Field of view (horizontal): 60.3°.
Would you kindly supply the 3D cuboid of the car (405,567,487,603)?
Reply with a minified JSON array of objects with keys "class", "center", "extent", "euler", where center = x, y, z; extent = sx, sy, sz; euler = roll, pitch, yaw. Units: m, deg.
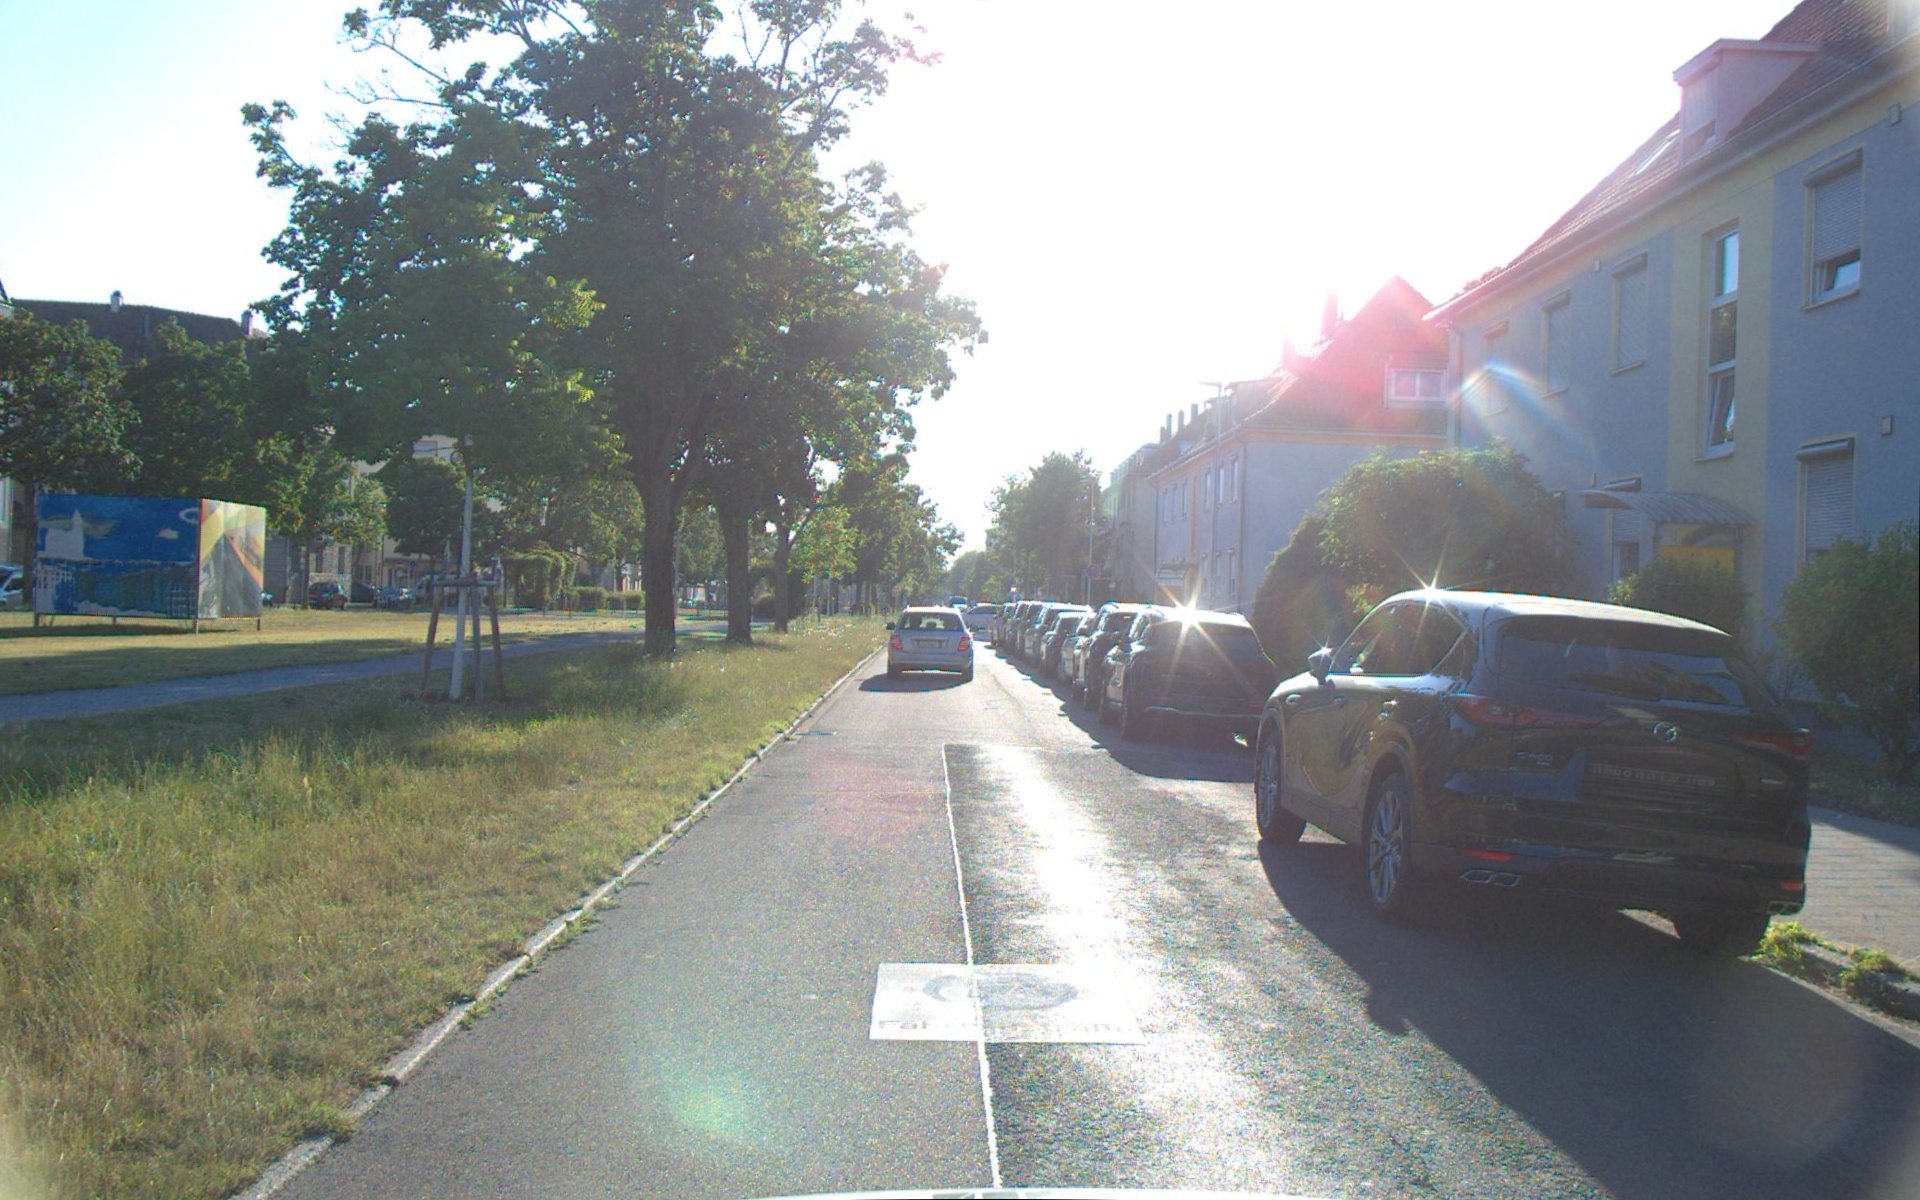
[{"class":"car","center":[-42.951,-1.235,138.267],"extent":[6.231,2.767,1.981],"euler":[2,0,-32]}]

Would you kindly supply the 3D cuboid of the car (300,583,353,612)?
[{"class":"car","center":[-39.954,-0.137,104.454],"extent":[1.610,1.737,4.293],"euler":[-2,-1,0]}]

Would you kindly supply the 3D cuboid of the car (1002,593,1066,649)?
[{"class":"car","center":[2.347,0.671,53.548],"extent":[1.741,1.672,4.755],"euler":[1,-1,-1]}]

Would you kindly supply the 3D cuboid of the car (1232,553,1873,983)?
[{"class":"car","center":[3.019,0.769,9.762],"extent":[1.796,1.762,5.030],"euler":[4,-1,-1]}]

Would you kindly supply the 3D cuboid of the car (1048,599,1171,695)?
[{"class":"car","center":[2.844,0.892,32.333],"extent":[1.694,1.575,4.205],"euler":[6,-1,-3]}]

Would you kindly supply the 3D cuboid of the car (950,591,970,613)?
[{"class":"car","center":[0.018,0.189,165.965],"extent":[1.948,2.059,3.999],"euler":[2,0,0]}]

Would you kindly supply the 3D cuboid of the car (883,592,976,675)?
[{"class":"car","center":[-0.605,0.645,34.104],"extent":[1.786,1.594,4.000],"euler":[1,0,0]}]

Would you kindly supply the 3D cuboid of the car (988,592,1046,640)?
[{"class":"car","center":[2.158,0.594,63.884],"extent":[1.683,1.667,4.560],"euler":[4,0,-4]}]

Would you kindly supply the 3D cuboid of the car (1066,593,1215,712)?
[{"class":"car","center":[2.849,0.777,27.069],"extent":[1.816,1.686,4.819],"euler":[3,0,0]}]

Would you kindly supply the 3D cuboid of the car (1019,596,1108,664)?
[{"class":"car","center":[2.602,0.737,42.453],"extent":[1.690,1.588,4.413],"euler":[2,0,-4]}]

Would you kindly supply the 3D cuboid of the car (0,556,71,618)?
[{"class":"car","center":[-34.032,-0.416,59.027],"extent":[1.979,2.036,5.366],"euler":[-2,-1,-4]}]

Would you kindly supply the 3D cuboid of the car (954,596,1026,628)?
[{"class":"car","center":[1.688,0.664,92.270],"extent":[3.811,1.624,2.001],"euler":[-2,-1,4]}]

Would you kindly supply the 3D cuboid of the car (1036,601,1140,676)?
[{"class":"car","center":[2.810,0.821,37.280],"extent":[1.953,1.488,4.561],"euler":[3,0,0]}]

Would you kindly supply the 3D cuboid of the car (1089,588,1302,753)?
[{"class":"car","center":[2.898,0.810,21.366],"extent":[1.894,1.750,4.620],"euler":[4,0,-1]}]

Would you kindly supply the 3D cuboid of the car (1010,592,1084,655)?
[{"class":"car","center":[2.486,0.693,48.260],"extent":[1.730,1.663,4.763],"euler":[3,-1,-1]}]

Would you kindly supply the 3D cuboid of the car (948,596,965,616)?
[{"class":"car","center":[-0.434,0.667,184.008],"extent":[1.823,2.231,5.069],"euler":[2,0,0]}]
